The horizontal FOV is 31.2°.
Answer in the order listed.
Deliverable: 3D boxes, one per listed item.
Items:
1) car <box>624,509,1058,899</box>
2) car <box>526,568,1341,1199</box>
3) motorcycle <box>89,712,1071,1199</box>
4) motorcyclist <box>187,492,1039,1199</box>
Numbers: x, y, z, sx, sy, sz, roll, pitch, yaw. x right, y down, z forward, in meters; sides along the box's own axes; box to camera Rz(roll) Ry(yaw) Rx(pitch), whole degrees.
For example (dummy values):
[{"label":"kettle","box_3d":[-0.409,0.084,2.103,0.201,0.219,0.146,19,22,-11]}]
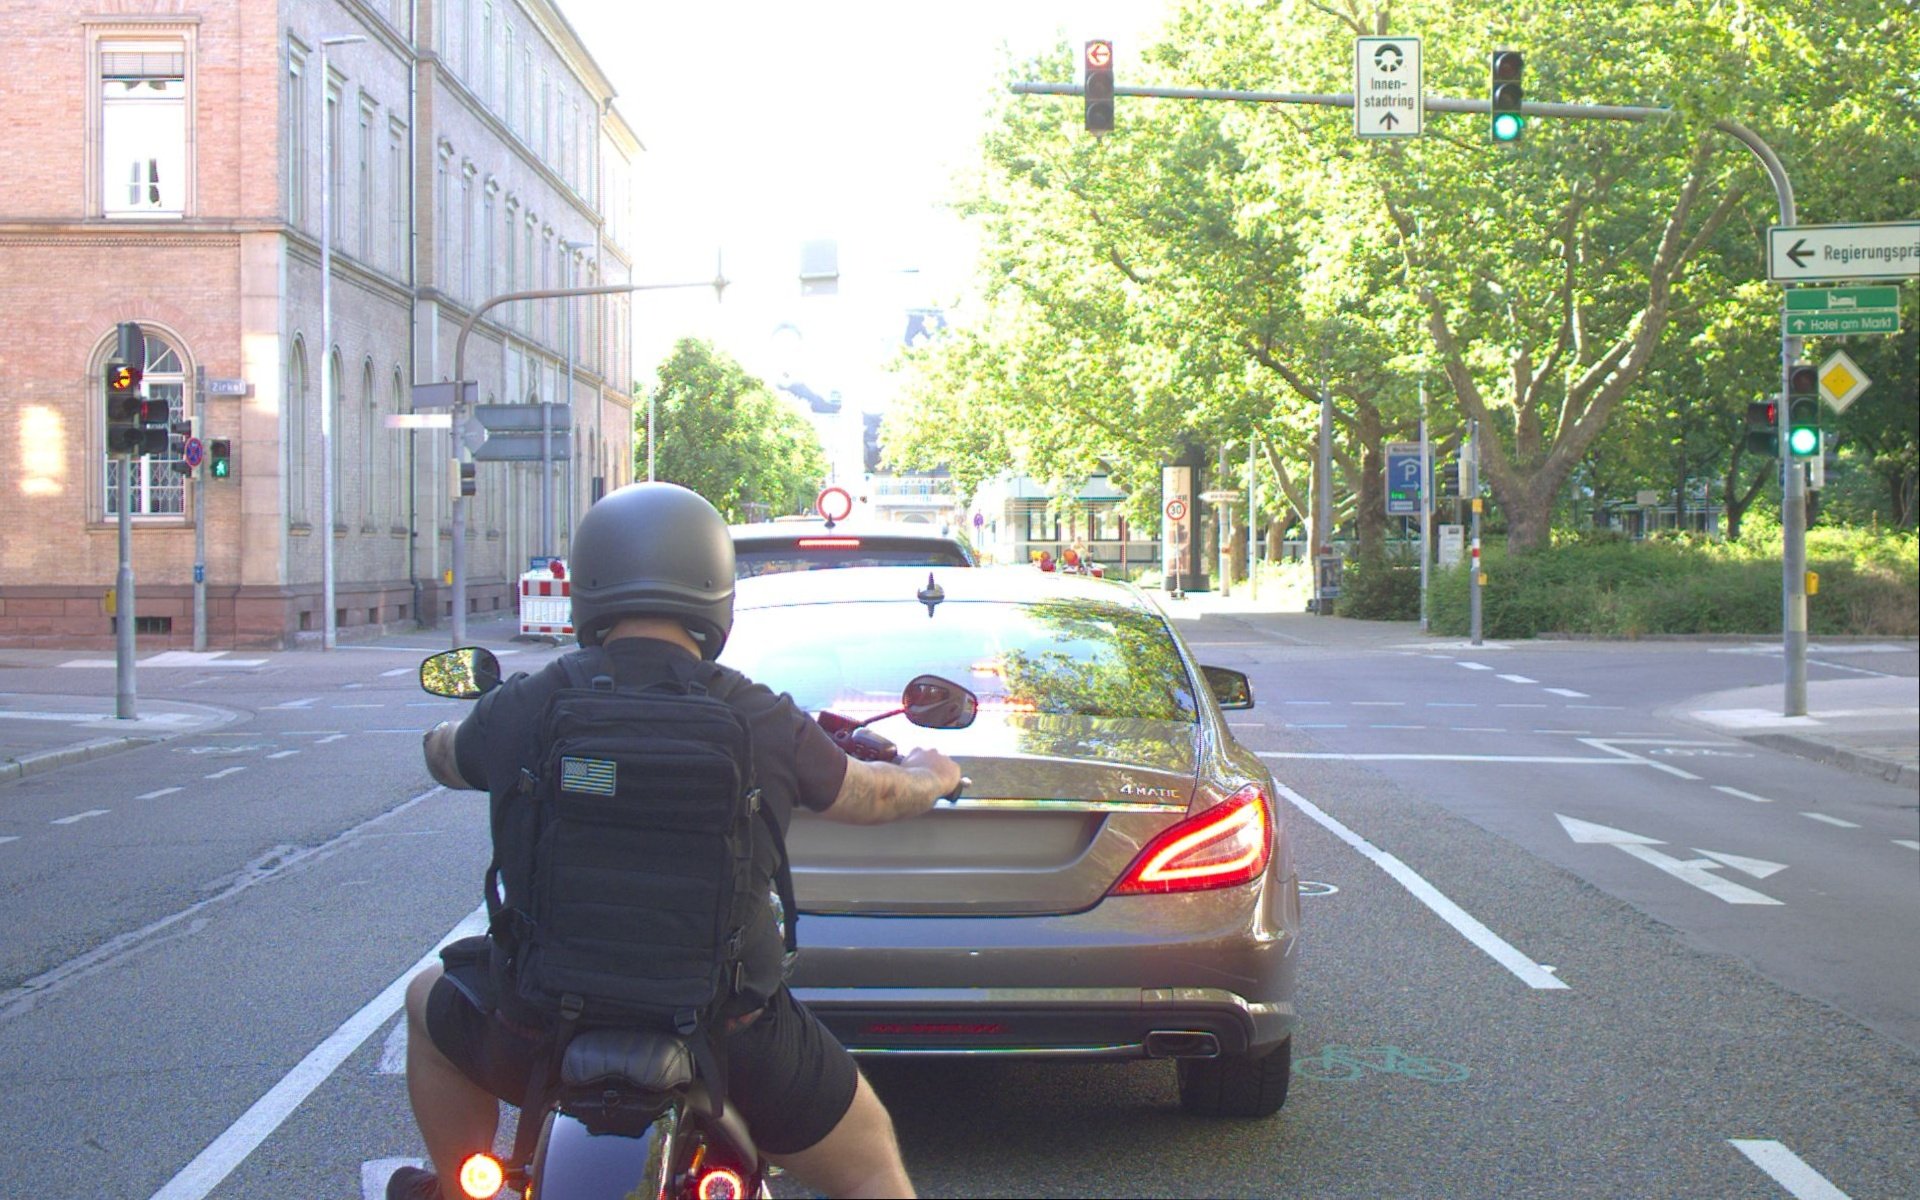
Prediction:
[{"label":"car","box_3d":[-0.539,0.432,16.951,1.863,1.672,4.000,1,1,-1]},{"label":"car","box_3d":[-0.081,0.639,9.673,1.822,1.432,3.806,1,1,-1]},{"label":"motorcycle","box_3d":[-0.464,0.836,5.509,1.118,1.203,2.212,1,1,6]},{"label":"motorcyclist","box_3d":[-0.478,0.633,5.285,1.099,1.560,1.071,1,0,6]}]
